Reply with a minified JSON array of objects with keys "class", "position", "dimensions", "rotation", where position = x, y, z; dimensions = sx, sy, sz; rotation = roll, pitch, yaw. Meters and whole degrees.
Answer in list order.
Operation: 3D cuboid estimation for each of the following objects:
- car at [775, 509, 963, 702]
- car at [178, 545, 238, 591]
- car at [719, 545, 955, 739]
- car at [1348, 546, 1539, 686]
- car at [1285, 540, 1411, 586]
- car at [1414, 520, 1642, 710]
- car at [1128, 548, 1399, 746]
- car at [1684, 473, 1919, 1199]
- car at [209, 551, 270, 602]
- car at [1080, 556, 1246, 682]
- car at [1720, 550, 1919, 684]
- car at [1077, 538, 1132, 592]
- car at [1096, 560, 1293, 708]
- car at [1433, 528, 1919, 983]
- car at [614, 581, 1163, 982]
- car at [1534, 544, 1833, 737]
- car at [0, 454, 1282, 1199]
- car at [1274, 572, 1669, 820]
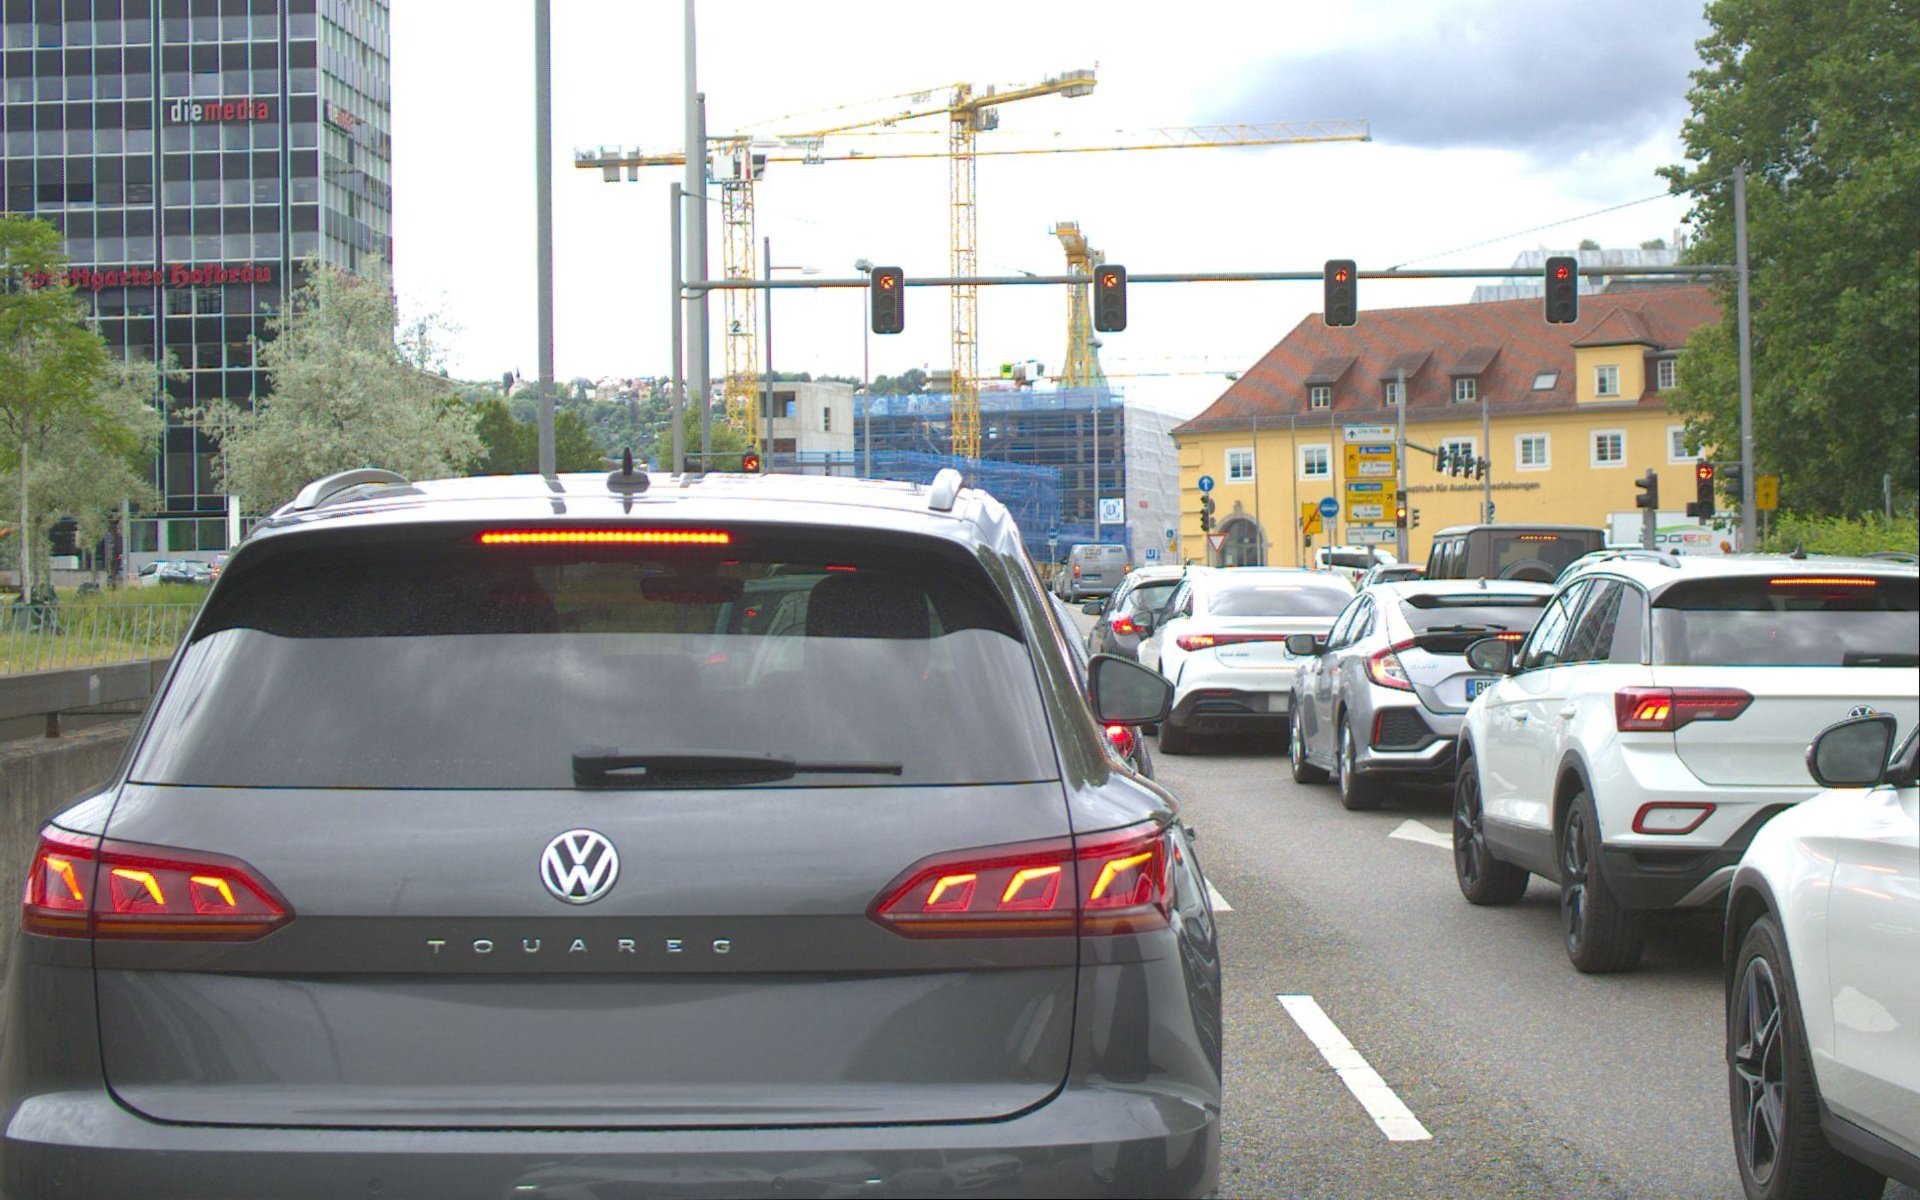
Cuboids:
[{"class":"car","position":[-0.997,0.036,38.562],"dimensions":[1.951,2.011,3.931],"rotation":[1,1,-1]},{"class":"car","position":[-35.098,-1.521,160.350],"dimensions":[1.993,2.006,4.693],"rotation":[-1,2,-22]},{"class":"car","position":[-1.068,0.330,31.029],"dimensions":[1.951,1.594,3.931],"rotation":[1,1,-1]},{"class":"car","position":[6.229,0.190,44.694],"dimensions":[1.910,1.691,4.012],"rotation":[1,0,0]},{"class":"car","position":[14.167,-1.345,125.502],"dimensions":[4.222,1.598,1.749],"rotation":[1,0,36]},{"class":"car","position":[6.393,0.158,39.114],"dimensions":[1.910,2.007,4.012],"rotation":[1,0,0]},{"class":"car","position":[2.467,0.364,28.926],"dimensions":[1.926,1.524,4.489],"rotation":[0,0,1]},{"class":"car","position":[2.713,0.591,6.170],"dimensions":[1.926,1.648,4.490],"rotation":[0,1,1]},{"class":"car","position":[-30.516,-1.000,145.777],"dimensions":[1.993,2.006,4.693],"rotation":[0,2,-5]},{"class":"car","position":[2.555,0.230,44.034],"dimensions":[1.926,1.524,4.047],"rotation":[0,0,1]},{"class":"car","position":[10.214,0.212,40.280],"dimensions":[1.932,1.455,4.526],"rotation":[1,0,5]},{"class":"car","position":[4.669,-1.112,111.398],"dimensions":[1.619,1.622,4.000],"rotation":[1,-1,0]},{"class":"car","position":[2.512,0.350,37.747],"dimensions":[1.926,1.524,4.047],"rotation":[0,0,1]},{"class":"car","position":[3.173,0.530,13.988],"dimensions":[1.926,1.545,4.489],"rotation":[0,0,1]},{"class":"car","position":[-0.288,0.648,14.401],"dimensions":[1.951,1.379,3.931],"rotation":[1,1,-1]},{"class":"car","position":[6.624,0.316,31.920],"dimensions":[1.993,1.634,4.304],"rotation":[0,1,2]},{"class":"car","position":[-0.570,0.603,6.664],"dimensions":[1.951,1.646,4.000],"rotation":[0,1,-1]},{"class":"car","position":[3.175,0.555,22.201],"dimensions":[1.926,1.427,4.489],"rotation":[0,0,1]}]
